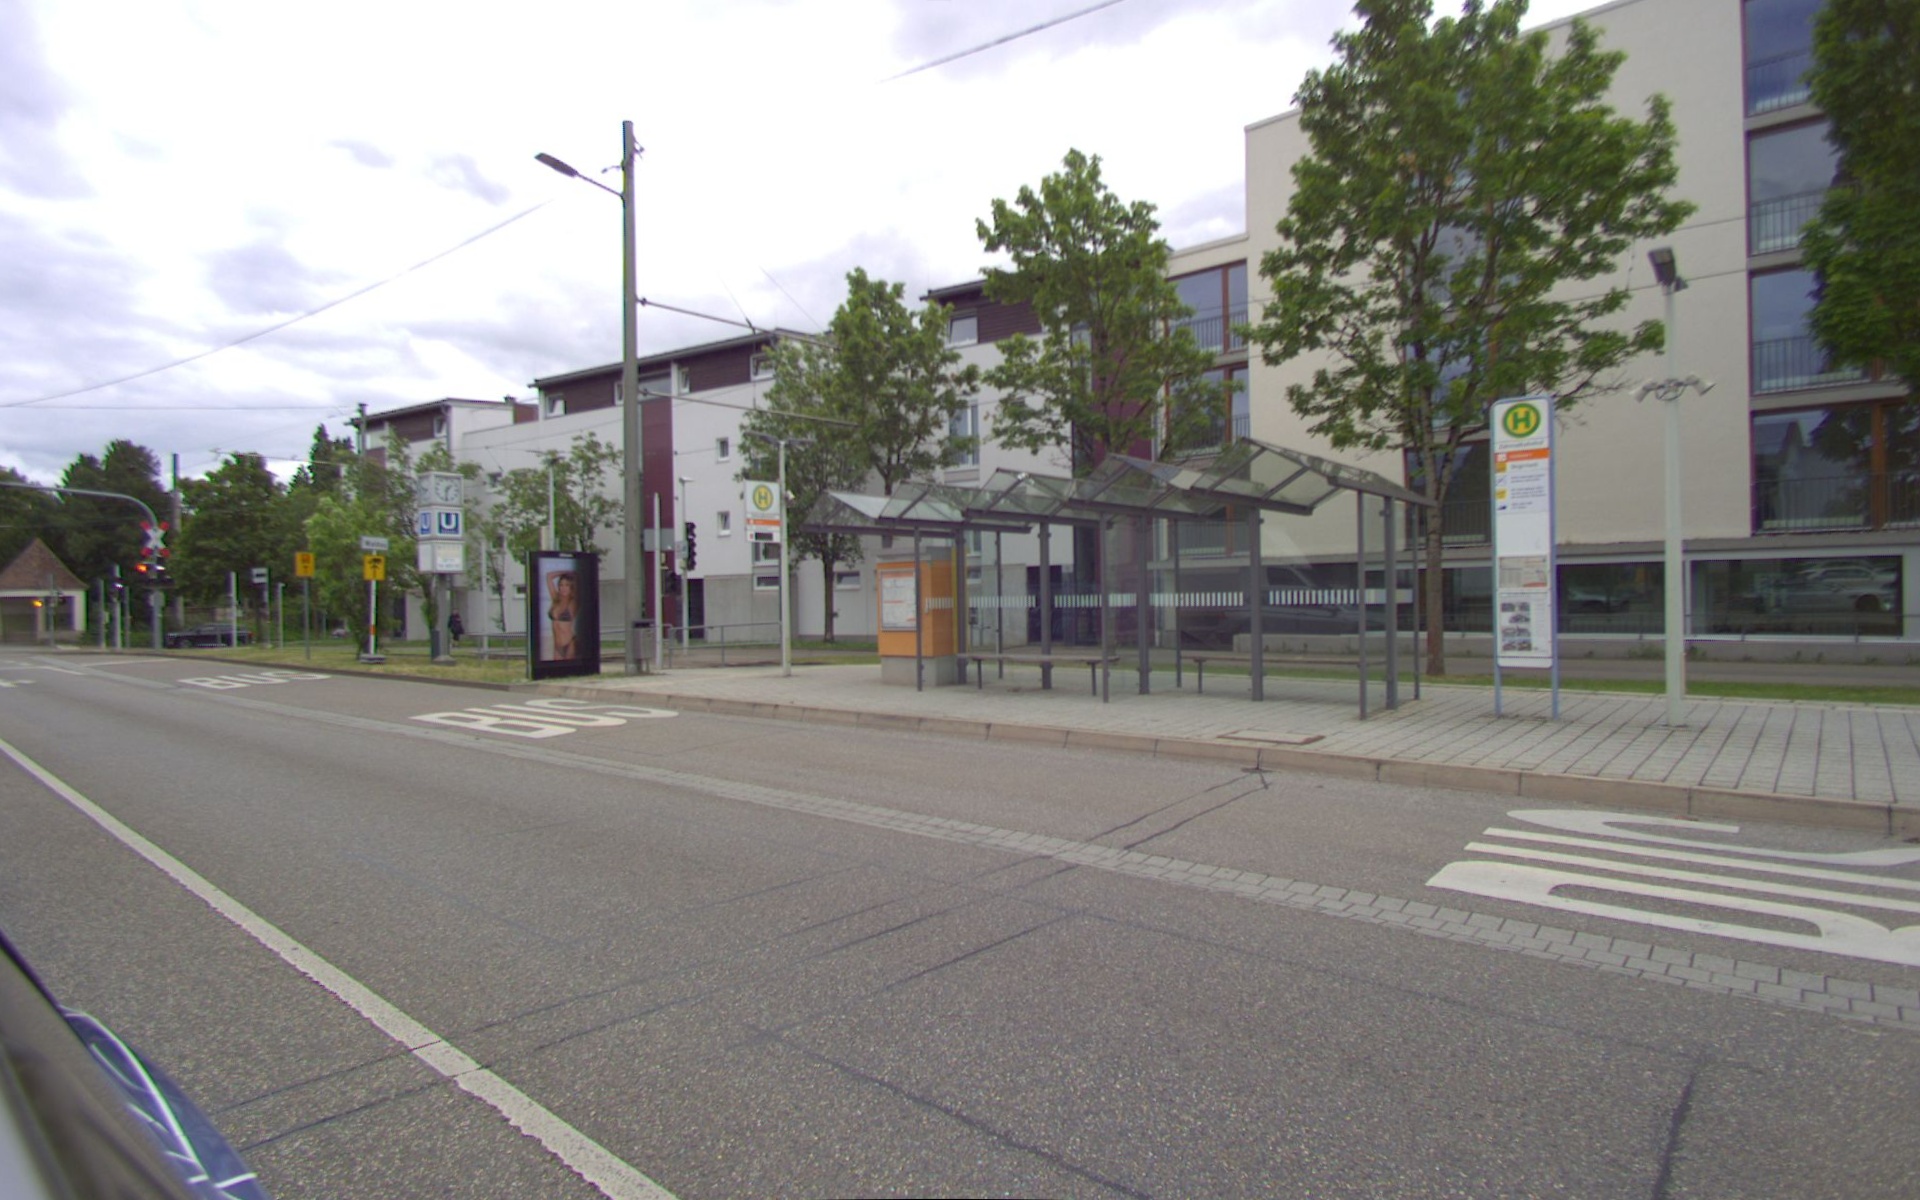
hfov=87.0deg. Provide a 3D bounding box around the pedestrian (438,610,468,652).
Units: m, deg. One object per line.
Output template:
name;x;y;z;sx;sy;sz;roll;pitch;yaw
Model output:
pedestrian;-20.145;1.225;40.212;0.778;1.607;0.773;-1;0;32

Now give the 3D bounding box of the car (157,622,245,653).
car;-46.449;2.275;61.987;1.925;1.719;3.950;-1;0;37
